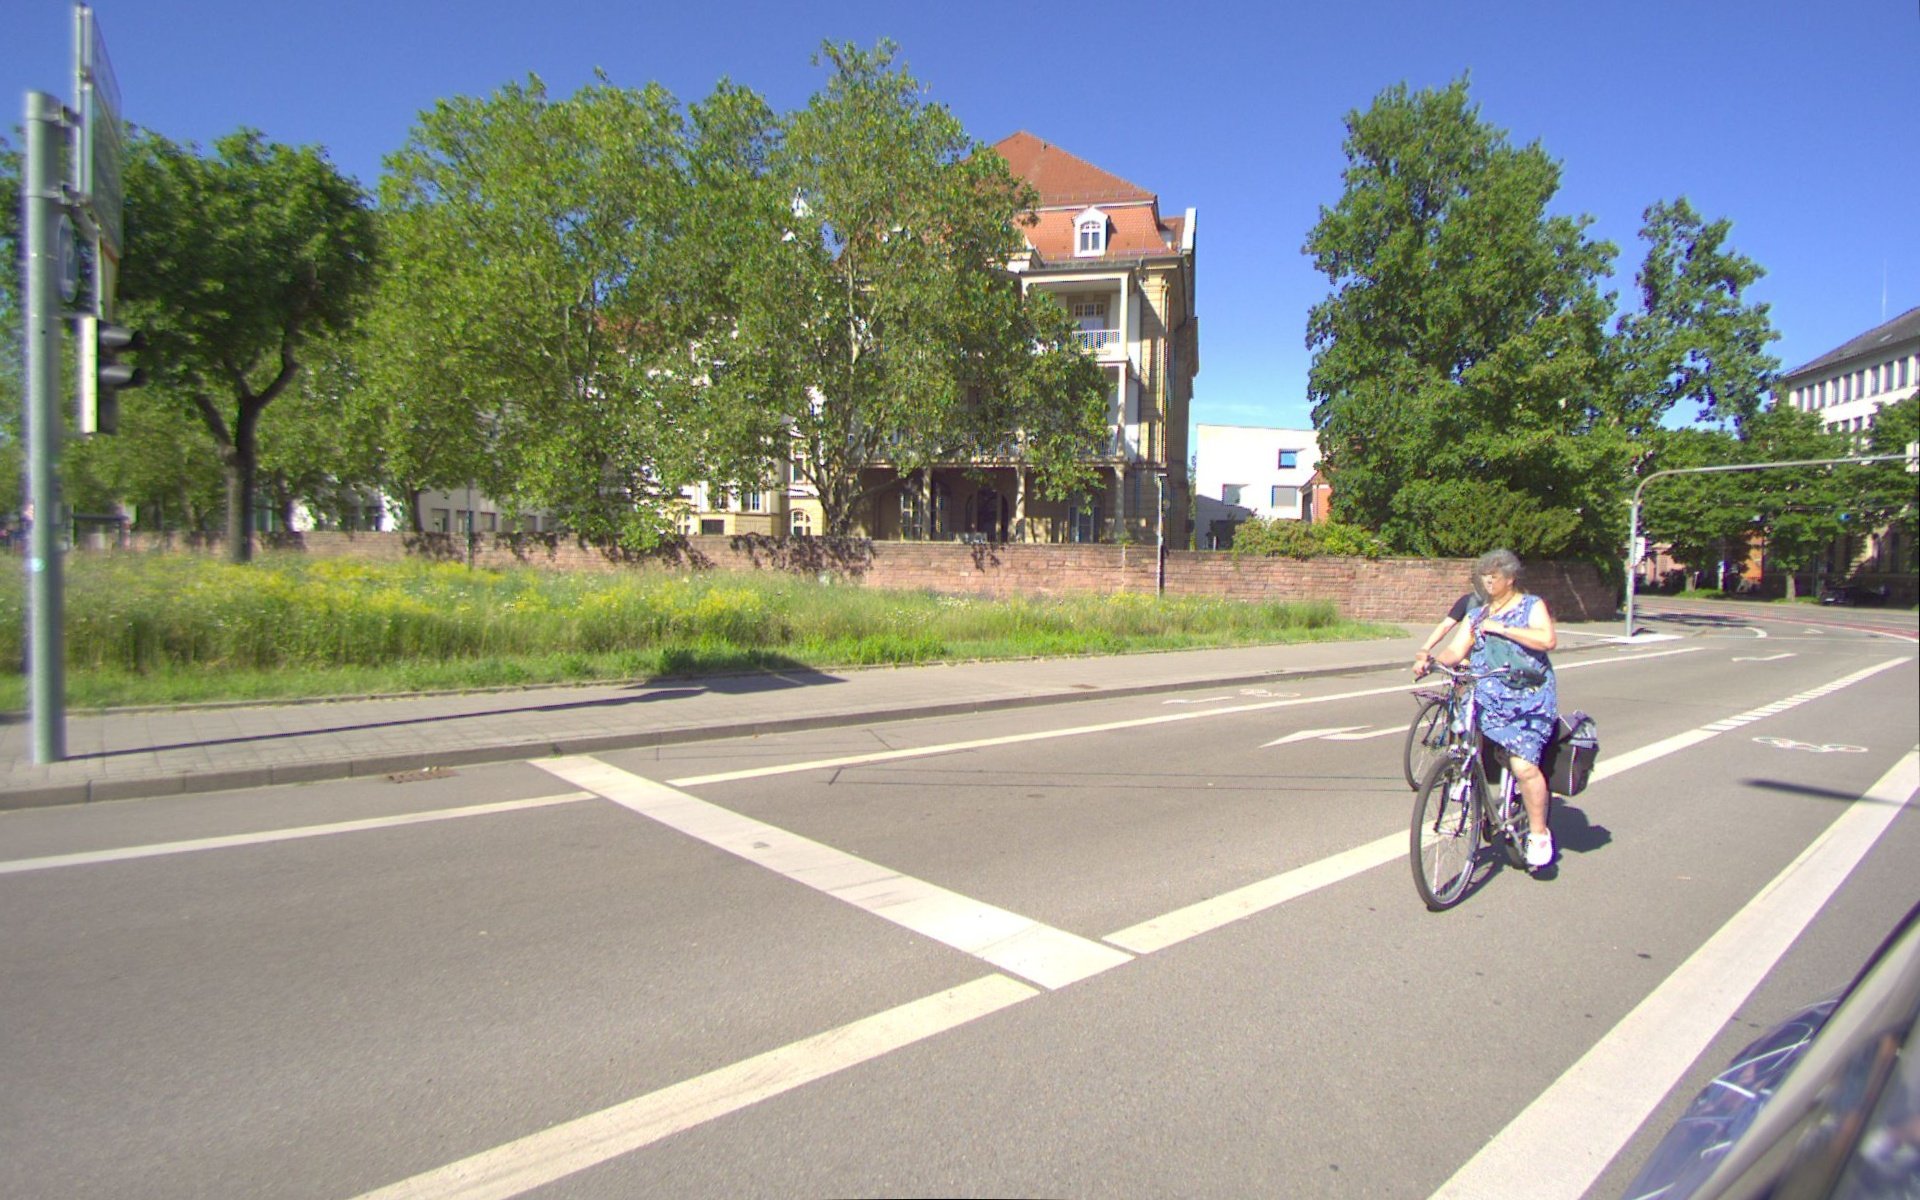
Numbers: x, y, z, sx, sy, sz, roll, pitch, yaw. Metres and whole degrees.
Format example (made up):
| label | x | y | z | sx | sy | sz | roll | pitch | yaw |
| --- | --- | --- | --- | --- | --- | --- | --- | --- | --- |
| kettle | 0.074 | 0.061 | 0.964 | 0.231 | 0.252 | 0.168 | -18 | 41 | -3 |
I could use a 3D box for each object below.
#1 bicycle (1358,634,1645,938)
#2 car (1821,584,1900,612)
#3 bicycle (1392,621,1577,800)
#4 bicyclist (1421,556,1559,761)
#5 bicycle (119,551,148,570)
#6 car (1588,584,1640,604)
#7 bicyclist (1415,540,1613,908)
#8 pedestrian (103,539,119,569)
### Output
| label | x | y | z | sx | sy | sz | roll | pitch | yaw |
| --- | --- | --- | --- | --- | --- | --- | --- | --- | --- |
| bicycle | 2.789 | 0.806 | 5.110 | 1.934 | 1.179 | 0.642 | -1 | 1 | -42 |
| car | 64.691 | -0.171 | 72.730 | 3.731 | 1.838 | 2.000 | 1 | 2 | 2 |
| bicycle | 4.062 | 0.773 | 7.775 | 1.838 | 1.180 | 0.642 | 0 | 1 | -42 |
| bicyclist | 4.081 | 0.410 | 7.781 | 0.936 | 1.462 | 0.642 | 0 | 0 | -41 |
| bicycle | -48.713 | -2.306 | 59.642 | 2.071 | 1.089 | 0.786 | 0 | 0 | 35 |
| car | 51.880 | -0.490 | 80.327 | 1.968 | 1.491 | 4.284 | 0 | 1 | 11 |
| bicyclist | 2.797 | 0.551 | 5.109 | 0.763 | 1.683 | 0.642 | -1 | 2 | -42 |
| pedestrian | -48.275 | -2.613 | 57.538 | 0.642 | 1.631 | 0.557 | -1 | 0 | -43 |
